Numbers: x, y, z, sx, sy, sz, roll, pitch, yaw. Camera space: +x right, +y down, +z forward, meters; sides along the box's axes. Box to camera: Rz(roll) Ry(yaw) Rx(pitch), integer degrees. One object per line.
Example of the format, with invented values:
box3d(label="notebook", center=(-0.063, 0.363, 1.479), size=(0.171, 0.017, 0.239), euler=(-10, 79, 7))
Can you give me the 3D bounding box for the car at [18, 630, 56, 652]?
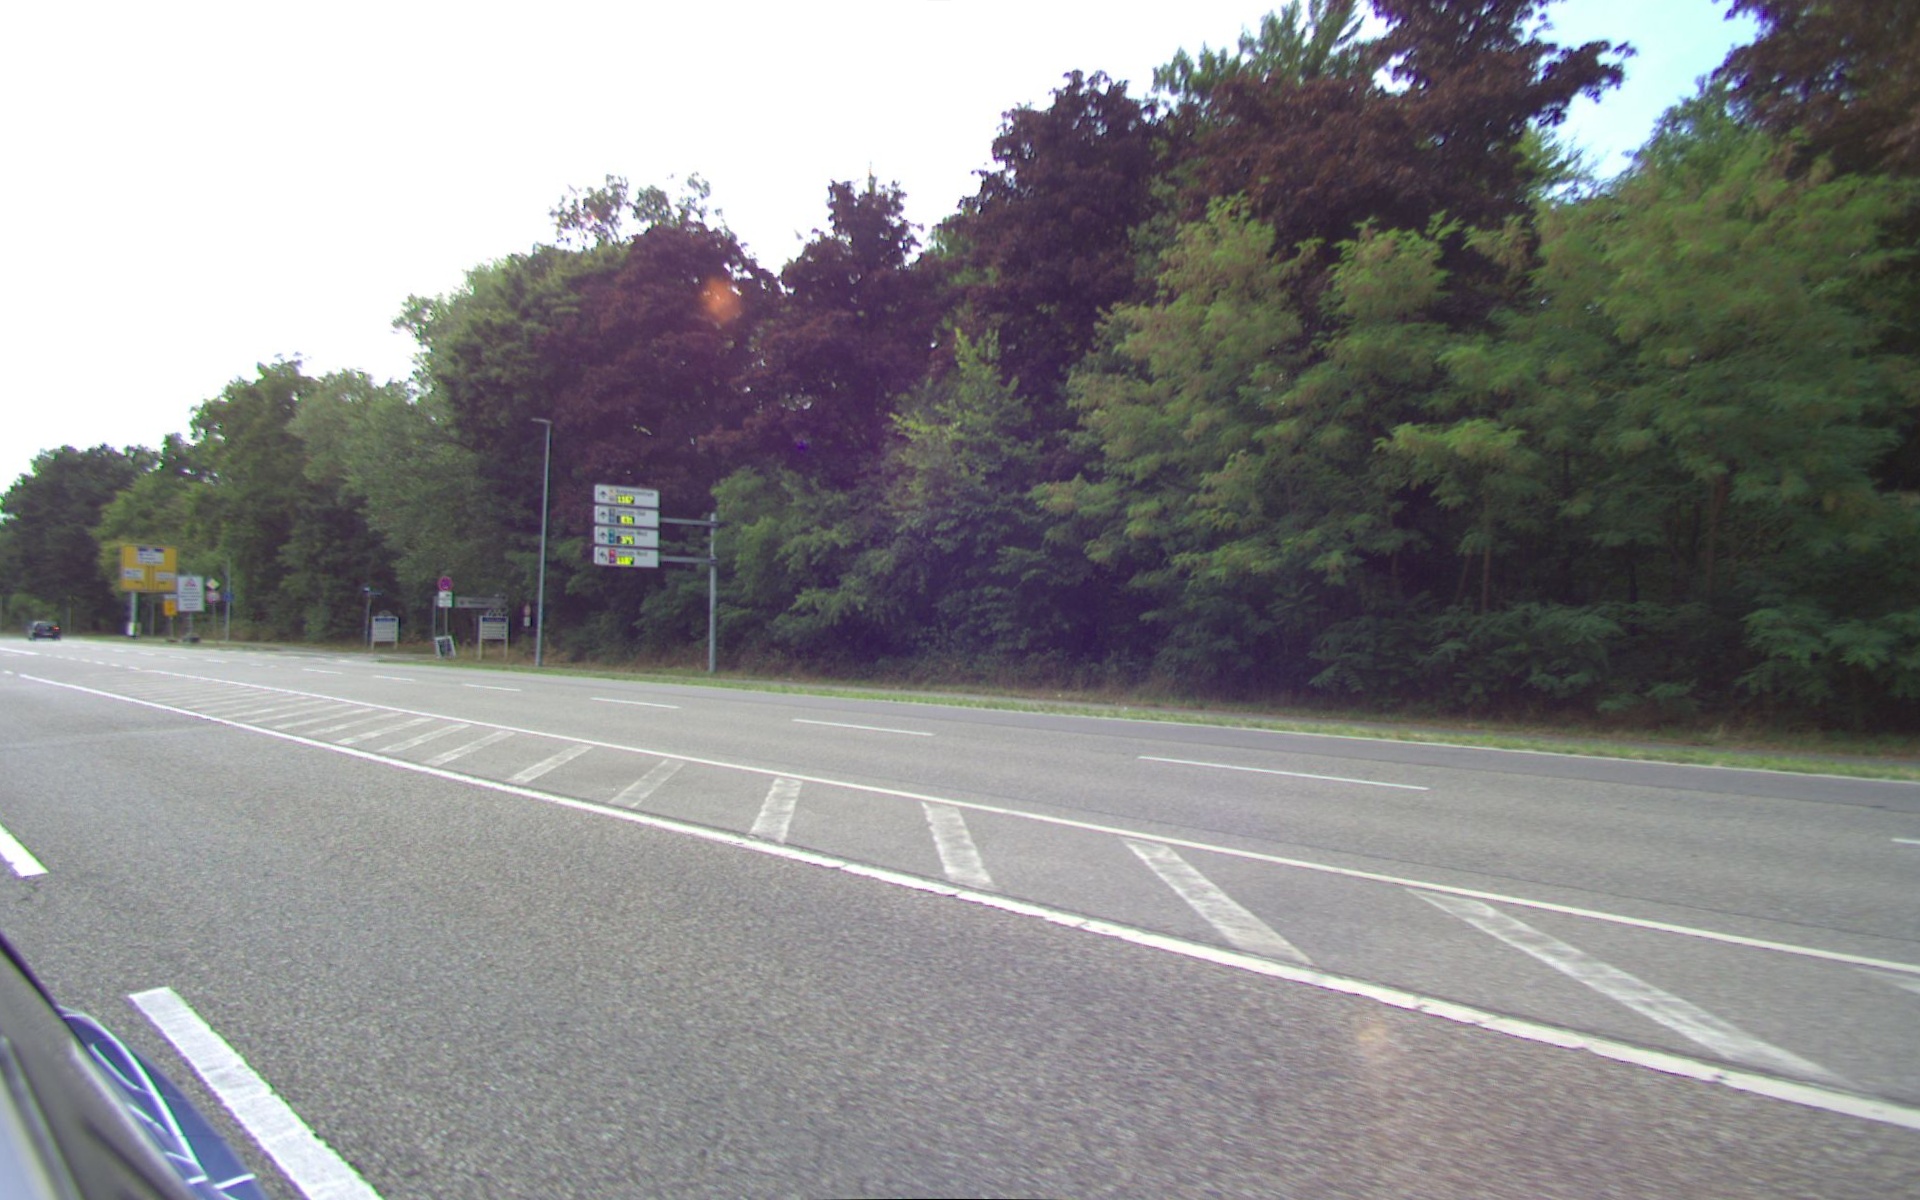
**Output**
box3d(label="car", center=(-69.147, 3.072, 75.812), size=(3.999, 1.486, 1.722), euler=(0, 1, 42))
